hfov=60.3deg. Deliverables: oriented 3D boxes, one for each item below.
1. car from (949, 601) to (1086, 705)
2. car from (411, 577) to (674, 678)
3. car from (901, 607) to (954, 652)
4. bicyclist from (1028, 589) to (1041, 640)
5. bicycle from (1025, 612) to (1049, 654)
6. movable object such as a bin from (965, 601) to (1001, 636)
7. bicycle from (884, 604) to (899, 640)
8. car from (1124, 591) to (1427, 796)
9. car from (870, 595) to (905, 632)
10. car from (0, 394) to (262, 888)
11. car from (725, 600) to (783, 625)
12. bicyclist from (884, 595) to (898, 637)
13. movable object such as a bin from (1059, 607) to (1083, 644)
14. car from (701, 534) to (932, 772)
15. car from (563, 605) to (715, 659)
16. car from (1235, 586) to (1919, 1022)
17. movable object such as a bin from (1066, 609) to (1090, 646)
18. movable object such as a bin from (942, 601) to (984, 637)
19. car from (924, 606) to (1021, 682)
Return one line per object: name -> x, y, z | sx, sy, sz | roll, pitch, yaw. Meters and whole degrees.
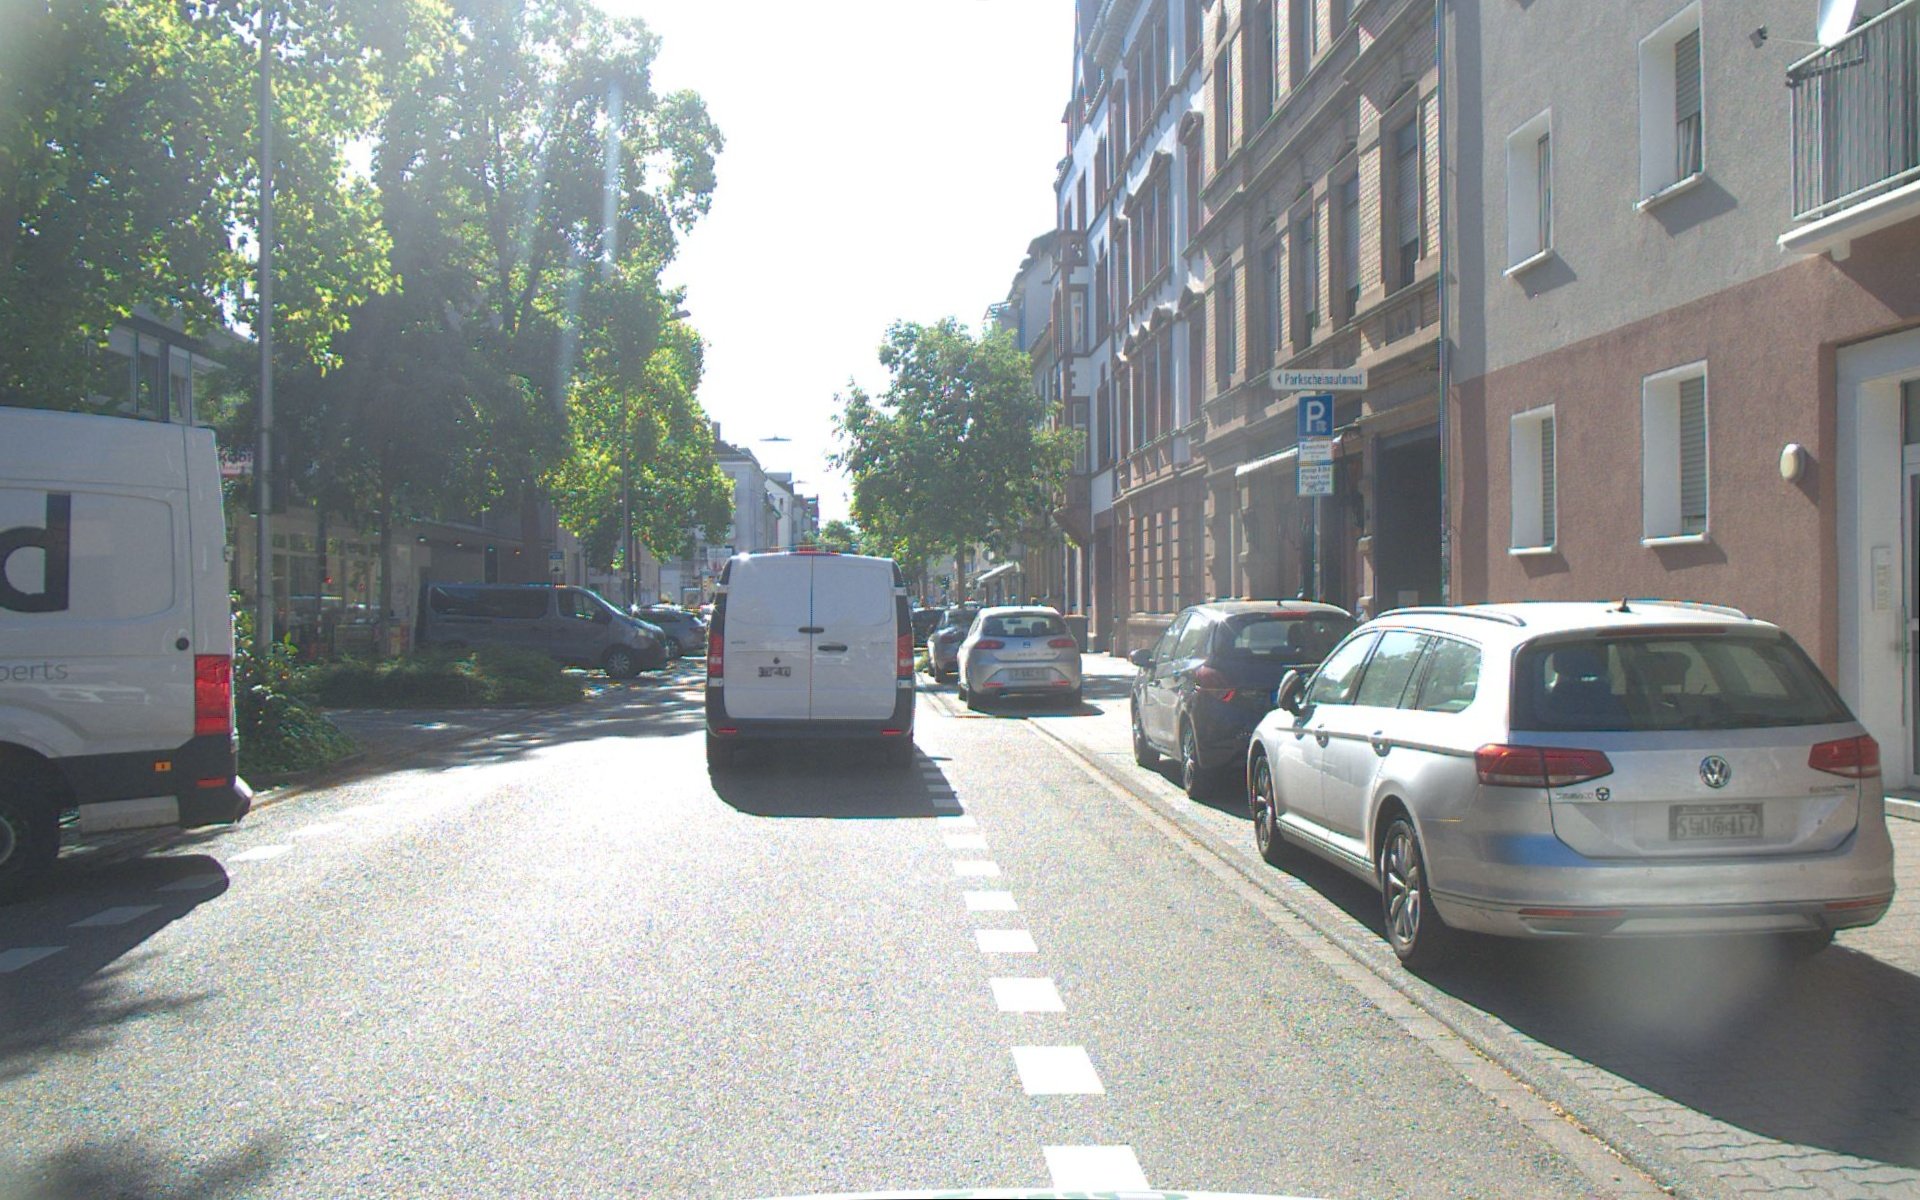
car -> 0.805, 0.759, 25.565 | 1.704, 1.477, 3.996 | 0, 0, -4
car -> -8.948, 0.591, 35.828 | 5.188, 2.009, 2.014 | 1, 0, -4
car -> -1.163, 0.995, 57.548 | 1.604, 1.501, 3.576 | -1, 0, -5
bicyclist -> 2.247, 0.431, 49.615 | 0.353, 1.503, 0.531 | 1, -1, 1
bicycle -> 2.299, 0.976, 49.352 | 0.525, 1.168, 2.124 | -5, -1, 0
movable object such as a bin -> 0.931, 0.737, 66.680 | 1.020, 1.371, 1.105 | -1, 0, 35
bicycle -> -2.529, 0.798, 61.099 | 0.466, 1.296, 1.217 | -1, 0, -4
car -> 2.521, 0.695, 14.090 | 1.675, 1.506, 3.708 | 0, 0, -4
car -> -4.032, 0.726, 91.615 | 1.780, 1.955, 4.639 | 0, 0, -5
car -> -7.112, 0.214, 8.335 | 6.507, 2.517, 1.981 | 0, 0, -28
car -> -14.074, 0.856, 112.976 | 3.911, 1.668, 1.997 | 0, 0, -7
bicyclist -> -2.543, 0.597, 61.183 | 0.431, 1.535, 0.496 | -3, 0, -5
movable object such as a bin -> 3.345, 0.766, 49.923 | 0.625, 1.087, 0.631 | -1, 0, -4
car -> -1.548, 0.444, 16.197 | 1.885, 1.947, 4.878 | 1, 0, -9
car -> -9.648, 0.943, 49.886 | 4.218, 1.486, 1.762 | 2, 0, -2
car -> 2.656, 0.718, 8.065 | 1.749, 1.485, 4.515 | -1, 0, -1
movable object such as a bin -> 3.486, 0.806, 48.775 | 0.625, 1.087, 0.639 | 0, 0, -4
movable object such as a bin -> 0.104, 0.749, 65.629 | 1.090, 1.371, 1.263 | -1, 0, 44
car -> 0.193, 0.866, 34.706 | 1.704, 1.477, 4.303 | 0, 0, -4
